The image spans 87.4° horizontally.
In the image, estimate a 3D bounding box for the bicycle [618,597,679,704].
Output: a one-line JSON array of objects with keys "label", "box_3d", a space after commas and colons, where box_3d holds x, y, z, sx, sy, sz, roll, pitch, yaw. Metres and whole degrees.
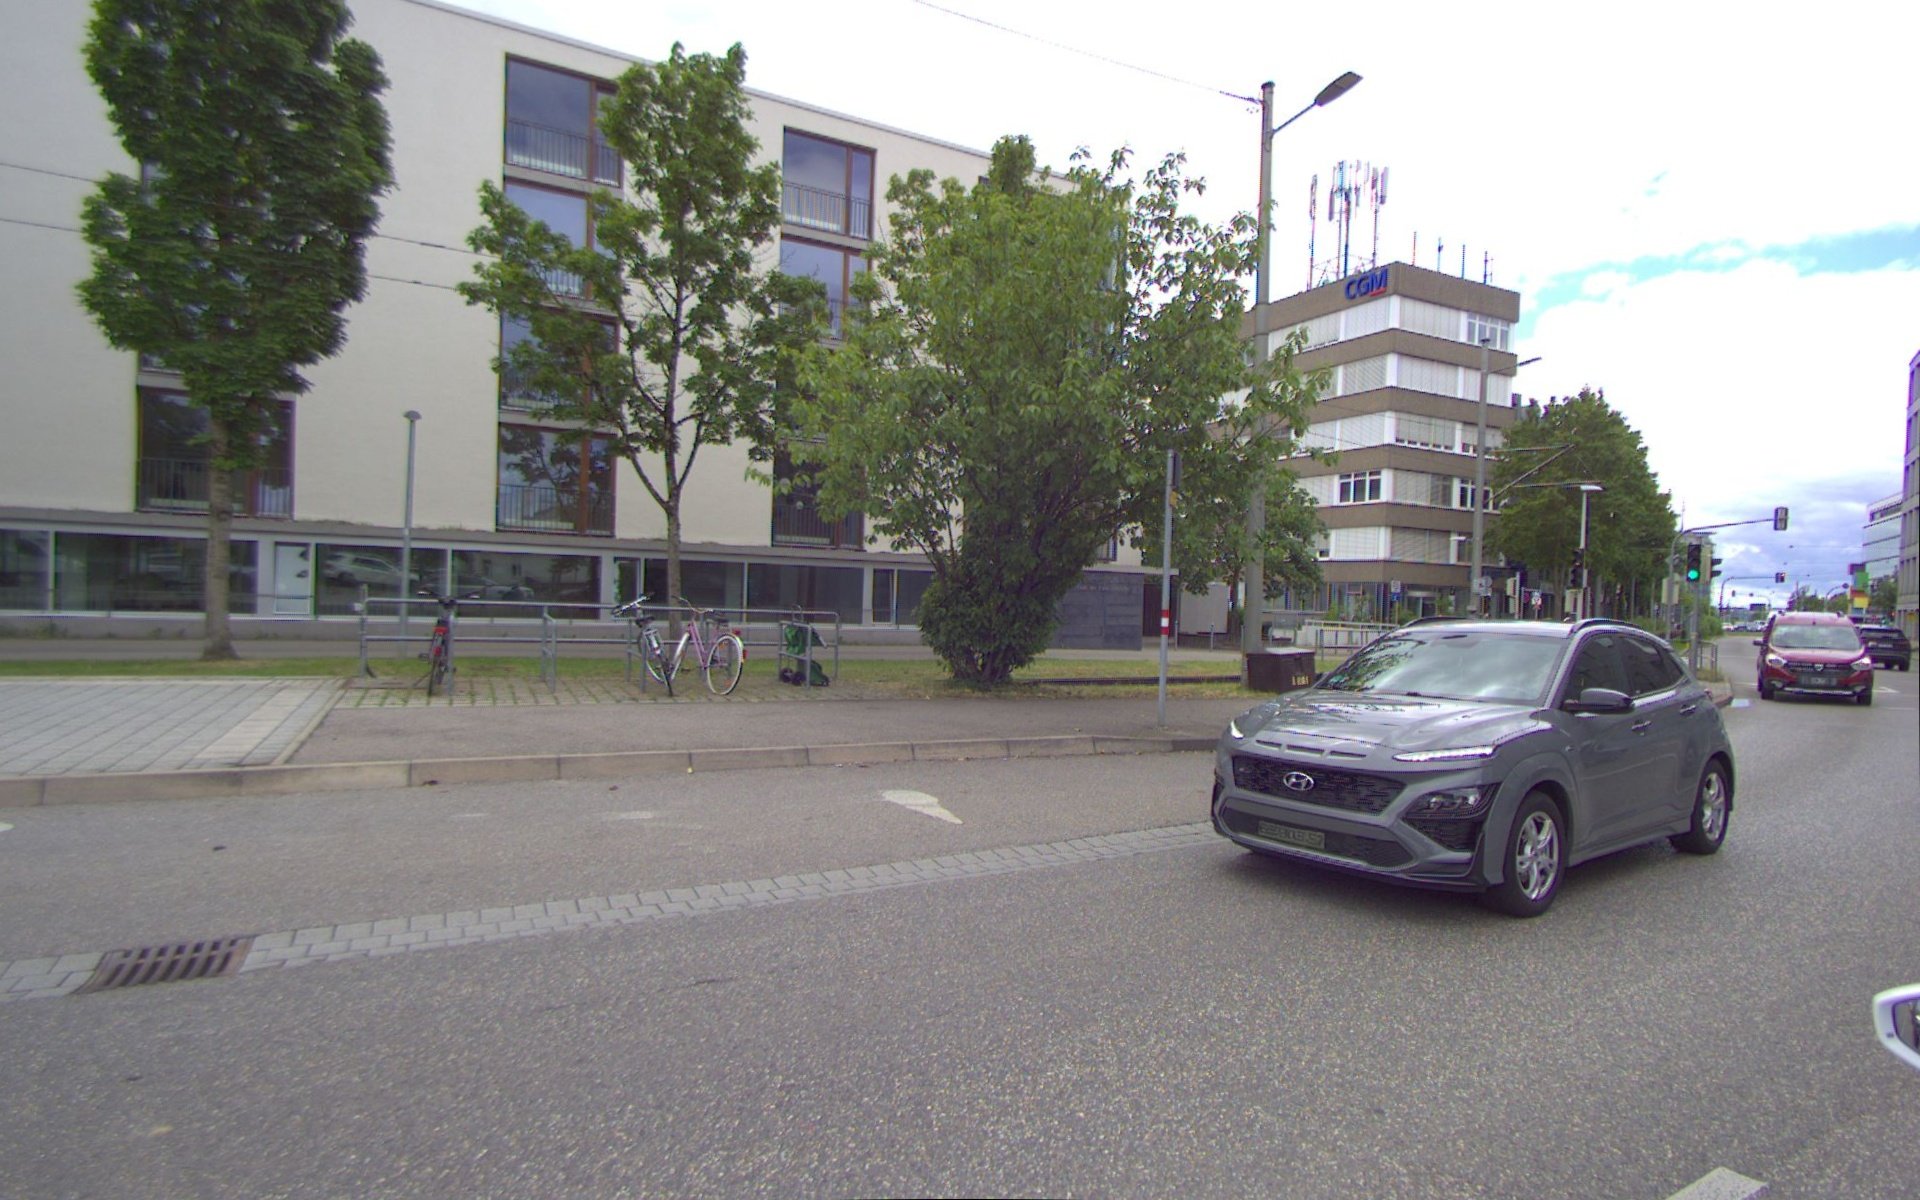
[{"label": "bicycle", "box_3d": [-3.619, 0.544, 11.590, 0.402, 1.060, 1.742, 2, 2, -25]}]

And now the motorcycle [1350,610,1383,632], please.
[{"label": "motorcycle", "box_3d": [23.969, 1.232, 59.210, 0.561, 1.215, 1.871, 2, 0, -27]}]

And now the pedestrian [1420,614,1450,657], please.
[{"label": "pedestrian", "box_3d": [17.729, 1.312, 37.452, 0.836, 1.547, 0.992, 1, -1, 36]}]

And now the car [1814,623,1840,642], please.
[{"label": "car", "box_3d": [80.599, 3.017, 93.430, 1.739, 1.630, 4.168, 2, 1, 40]}]

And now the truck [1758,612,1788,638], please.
[{"label": "truck", "box_3d": [88.202, 2.730, 109.057, 2.137, 2.650, 5.775, 2, 0, 36]}]

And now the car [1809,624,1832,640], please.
[{"label": "car", "box_3d": [92.038, 3.432, 107.474, 1.739, 1.630, 4.168, 2, 1, 40]}]

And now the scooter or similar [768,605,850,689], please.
[{"label": "scooter or similar", "box_3d": [-1.968, 0.603, 13.060, 0.766, 1.023, 0.782, 2, 1, -35]}]

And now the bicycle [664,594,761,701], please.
[{"label": "bicycle", "box_3d": [-2.980, 0.530, 11.995, 0.405, 1.103, 1.690, 1, 3, -39]}]

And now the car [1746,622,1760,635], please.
[{"label": "car", "box_3d": [122.589, 4.418, 155.254, 1.646, 1.907, 3.983, 2, 0, 38]}]

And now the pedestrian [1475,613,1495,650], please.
[{"label": "pedestrian", "box_3d": [24.643, 1.478, 47.125, 0.679, 1.728, 0.679, 1, -1, 40]}]

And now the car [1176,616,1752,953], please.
[{"label": "car", "box_3d": [3.372, 0.886, 6.433, 3.963, 1.498, 1.755, 2, -1, -37]}]

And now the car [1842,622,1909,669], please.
[{"label": "car", "box_3d": [35.112, 1.713, 38.597, 1.739, 1.630, 4.167, 2, 1, 41]}]

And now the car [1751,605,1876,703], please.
[{"label": "car", "box_3d": [17.848, 1.077, 21.172, 1.659, 1.832, 4.337, 0, -1, 36]}]

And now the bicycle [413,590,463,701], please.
[{"label": "bicycle", "box_3d": [-5.600, 0.447, 10.821, 0.391, 1.039, 1.681, 2, 2, -25]}]
